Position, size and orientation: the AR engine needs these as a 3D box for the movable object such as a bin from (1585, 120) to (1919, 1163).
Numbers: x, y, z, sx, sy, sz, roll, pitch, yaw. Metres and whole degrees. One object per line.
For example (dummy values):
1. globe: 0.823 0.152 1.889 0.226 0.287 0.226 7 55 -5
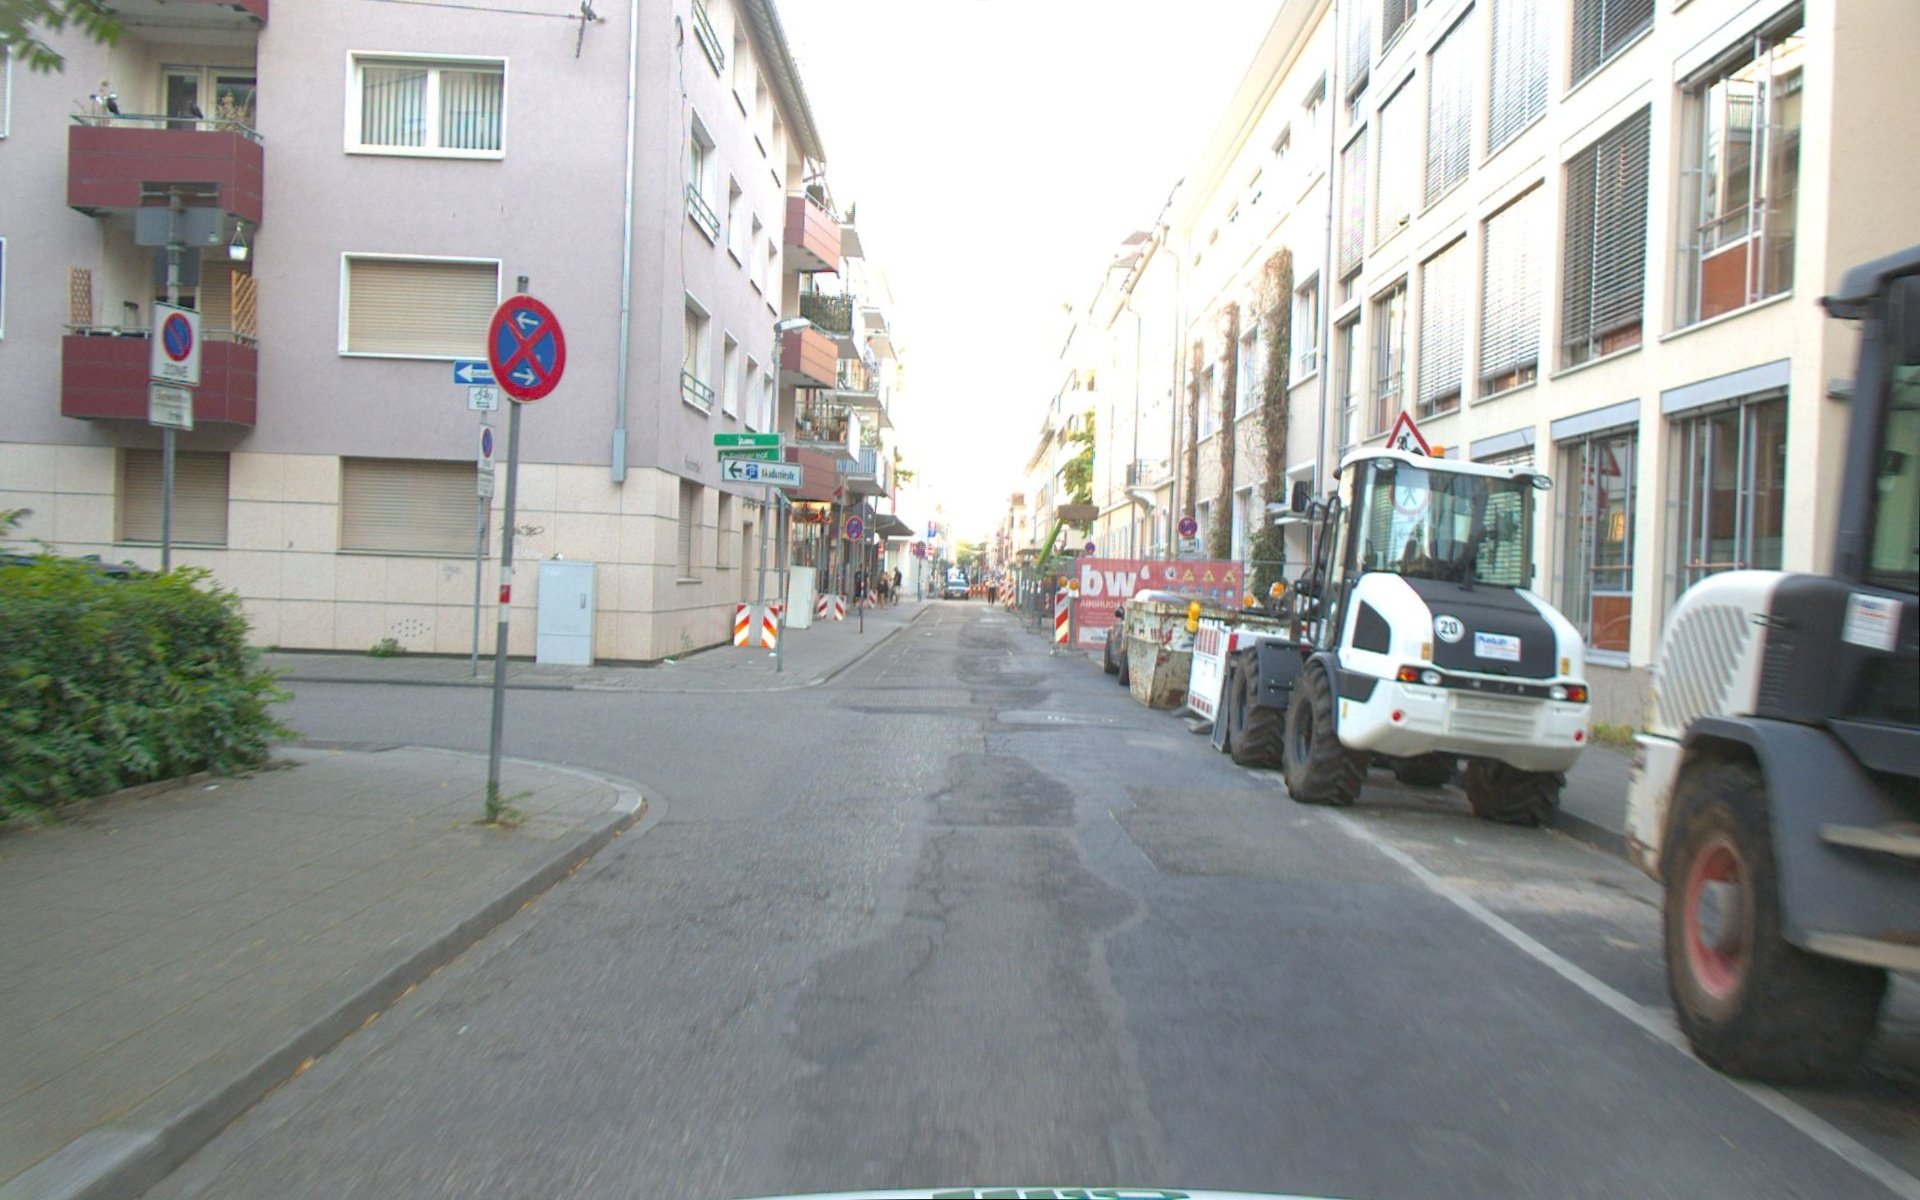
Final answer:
1. movable object such as a bin: 3.362 0.104 4.574 1.759 2.680 4.112 2 1 2

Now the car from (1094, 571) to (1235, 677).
1. car: 3.155 0.316 26.309 1.659 1.430 4.480 3 1 0

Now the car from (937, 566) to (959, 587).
1. car: -0.849 -1.717 118.706 1.444 1.422 3.332 2 1 0

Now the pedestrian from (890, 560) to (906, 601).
1. pedestrian: -2.929 -0.930 77.959 0.560 1.919 0.656 1 0 13

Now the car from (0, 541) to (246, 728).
1. car: -8.633 0.222 14.171 4.257 1.483 1.686 1 1 -2

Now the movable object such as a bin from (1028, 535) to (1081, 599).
1. movable object such as a bin: 4.938 -1.781 87.112 2.420 3.184 4.298 3 2 0

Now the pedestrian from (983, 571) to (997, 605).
1. pedestrian: 1.602 -0.654 88.573 0.705 1.770 0.647 2 1 -2

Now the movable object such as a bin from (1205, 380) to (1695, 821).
1. movable object such as a bin: 3.429 -0.052 12.964 2.122 2.641 5.543 2 1 0

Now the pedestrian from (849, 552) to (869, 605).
1. pedestrian: -3.581 -0.773 58.810 0.616 1.839 0.647 2 1 1

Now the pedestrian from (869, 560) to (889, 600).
1. pedestrian: -3.362 -0.832 68.646 0.634 1.591 0.629 2 2 -15
